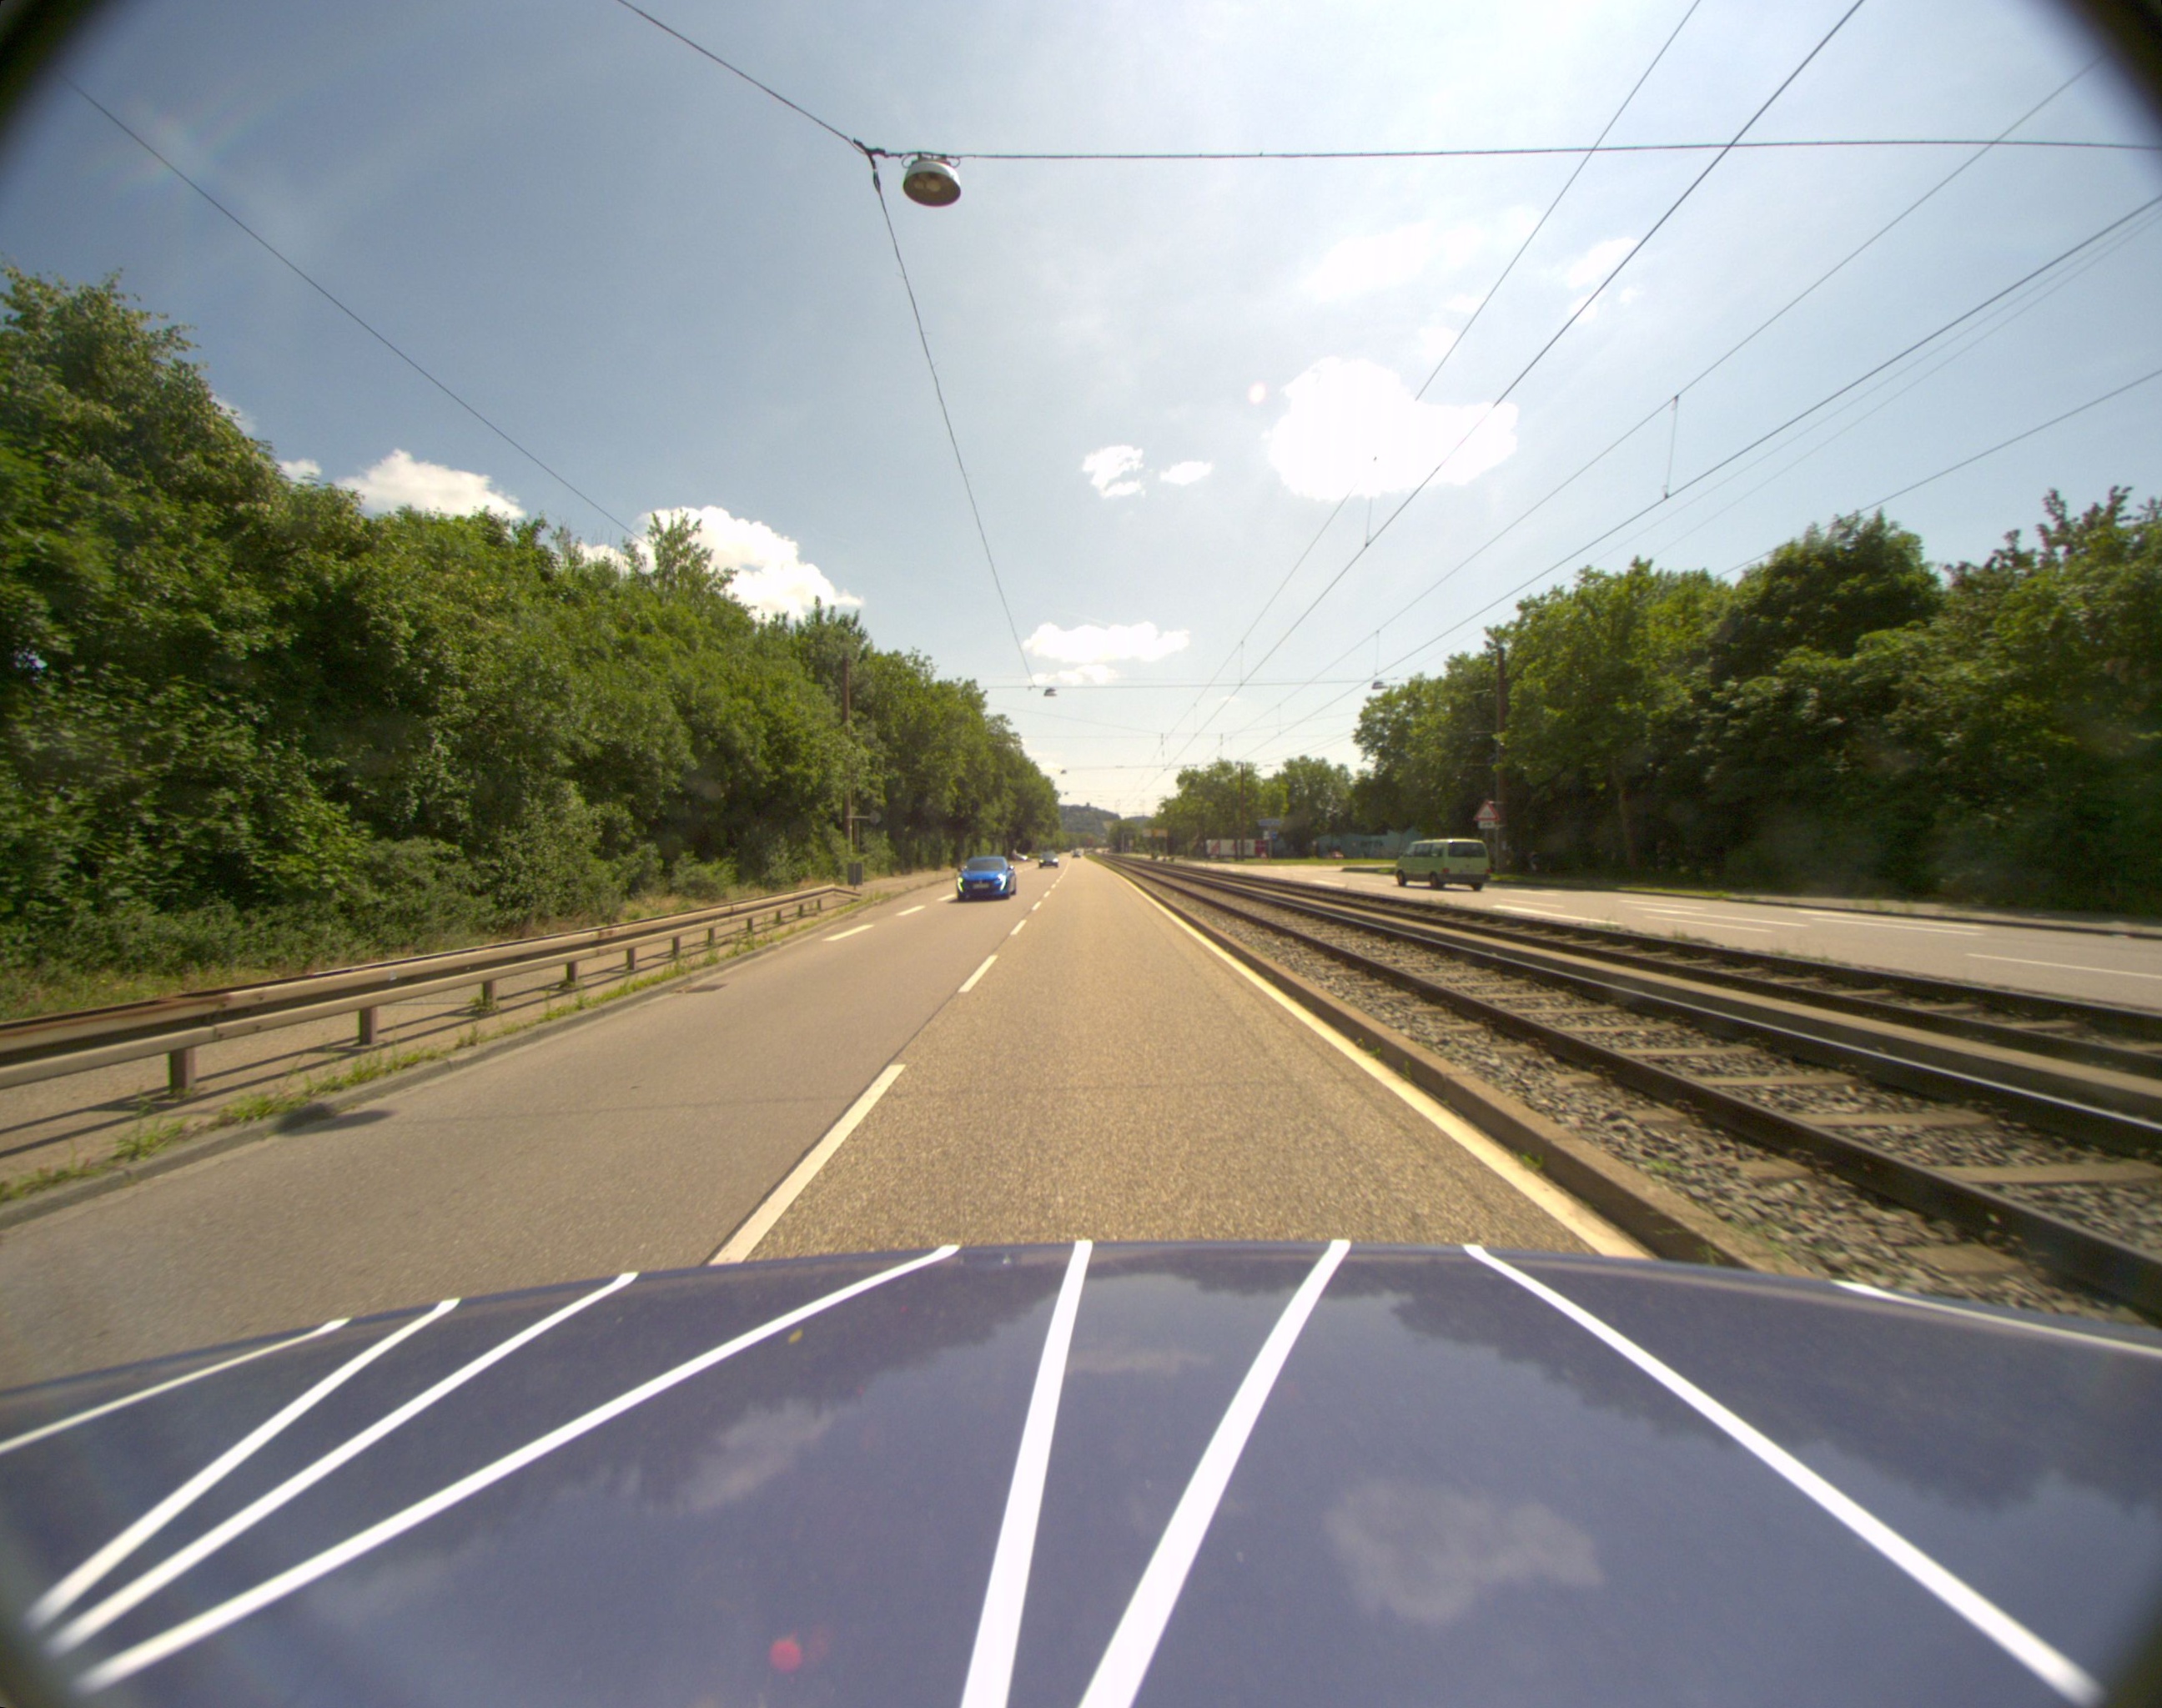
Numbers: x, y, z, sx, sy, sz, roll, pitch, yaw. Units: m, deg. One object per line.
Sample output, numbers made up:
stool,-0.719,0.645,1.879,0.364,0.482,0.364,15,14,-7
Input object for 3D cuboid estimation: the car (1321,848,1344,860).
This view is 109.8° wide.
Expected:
car,39.992,-0.023,120.767,1.567,1.782,3.392,-1,1,-25

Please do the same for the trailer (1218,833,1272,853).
trailer,30.678,-2.004,142.720,3.393,3.634,12.083,-1,1,-25

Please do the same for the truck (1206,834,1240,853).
truck,27.806,-2.002,149.211,3.423,3.680,6.745,-1,1,-24

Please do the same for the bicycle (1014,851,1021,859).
bicycle,-9.303,0.096,110.907,0.710,1.131,2.538,0,1,1

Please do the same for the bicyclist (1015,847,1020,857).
bicyclist,-9.297,-0.286,110.892,0.704,1.431,0.641,0,1,1

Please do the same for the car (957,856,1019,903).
car,-3.149,0.817,26.331,1.660,1.397,3.742,-2,1,-1

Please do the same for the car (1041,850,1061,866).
car,-2.808,0.320,72.047,1.769,1.359,3.743,-2,1,0

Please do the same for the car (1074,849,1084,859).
car,-0.389,-0.011,164.068,1.999,2.002,3.999,-2,1,0

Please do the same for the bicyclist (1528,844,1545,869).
bicyclist,25.356,0.112,42.331,0.570,1.360,0.631,-2,2,6

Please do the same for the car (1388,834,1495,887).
car,14.026,0.187,29.960,1.816,1.914,5.178,0,1,1

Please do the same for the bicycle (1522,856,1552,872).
bicycle,25.373,0.549,42.330,0.587,0.814,2.068,-2,2,6
